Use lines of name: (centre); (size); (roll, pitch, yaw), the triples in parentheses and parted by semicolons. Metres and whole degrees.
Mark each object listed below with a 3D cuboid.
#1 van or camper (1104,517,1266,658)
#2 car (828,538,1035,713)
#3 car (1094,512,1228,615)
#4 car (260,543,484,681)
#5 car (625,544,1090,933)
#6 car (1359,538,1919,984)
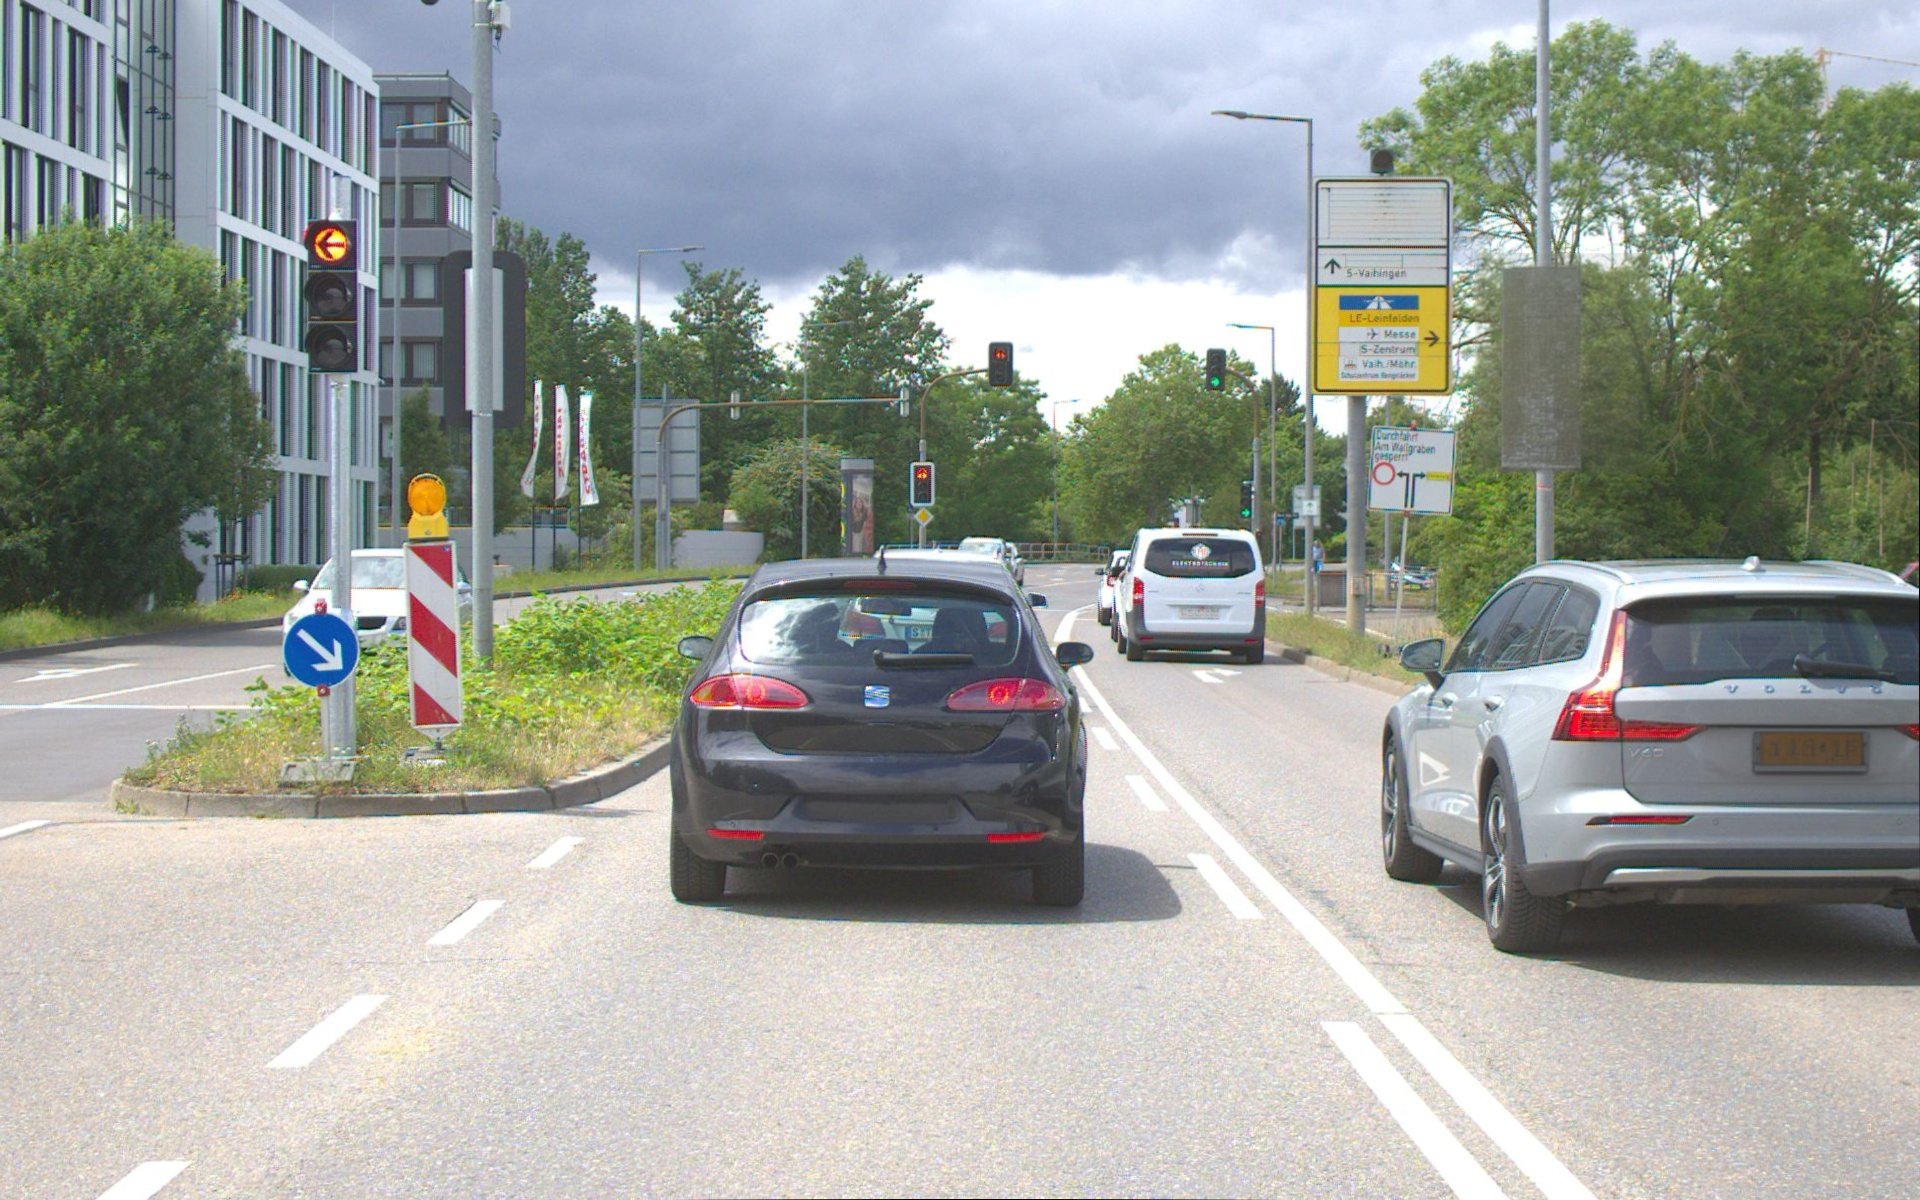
van or camper: (3.118, -0.210, 48.486); (1.993, 1.853, 4.943); (1, 1, 1)
car: (-0.236, 0.186, 31.357); (1.773, 1.486, 3.582); (0, 1, 0)
car: (3.329, -0.622, 57.614); (1.993, 1.626, 4.000); (1, 1, 0)
car: (-6.564, 0.087, 38.797); (1.792, 1.442, 4.422); (0, 1, 0)
car: (-0.338, 0.514, 15.290); (1.773, 1.447, 3.582); (2, 1, 2)
car: (2.844, 0.512, 13.972); (1.863, 1.513, 4.447); (0, 1, -1)
